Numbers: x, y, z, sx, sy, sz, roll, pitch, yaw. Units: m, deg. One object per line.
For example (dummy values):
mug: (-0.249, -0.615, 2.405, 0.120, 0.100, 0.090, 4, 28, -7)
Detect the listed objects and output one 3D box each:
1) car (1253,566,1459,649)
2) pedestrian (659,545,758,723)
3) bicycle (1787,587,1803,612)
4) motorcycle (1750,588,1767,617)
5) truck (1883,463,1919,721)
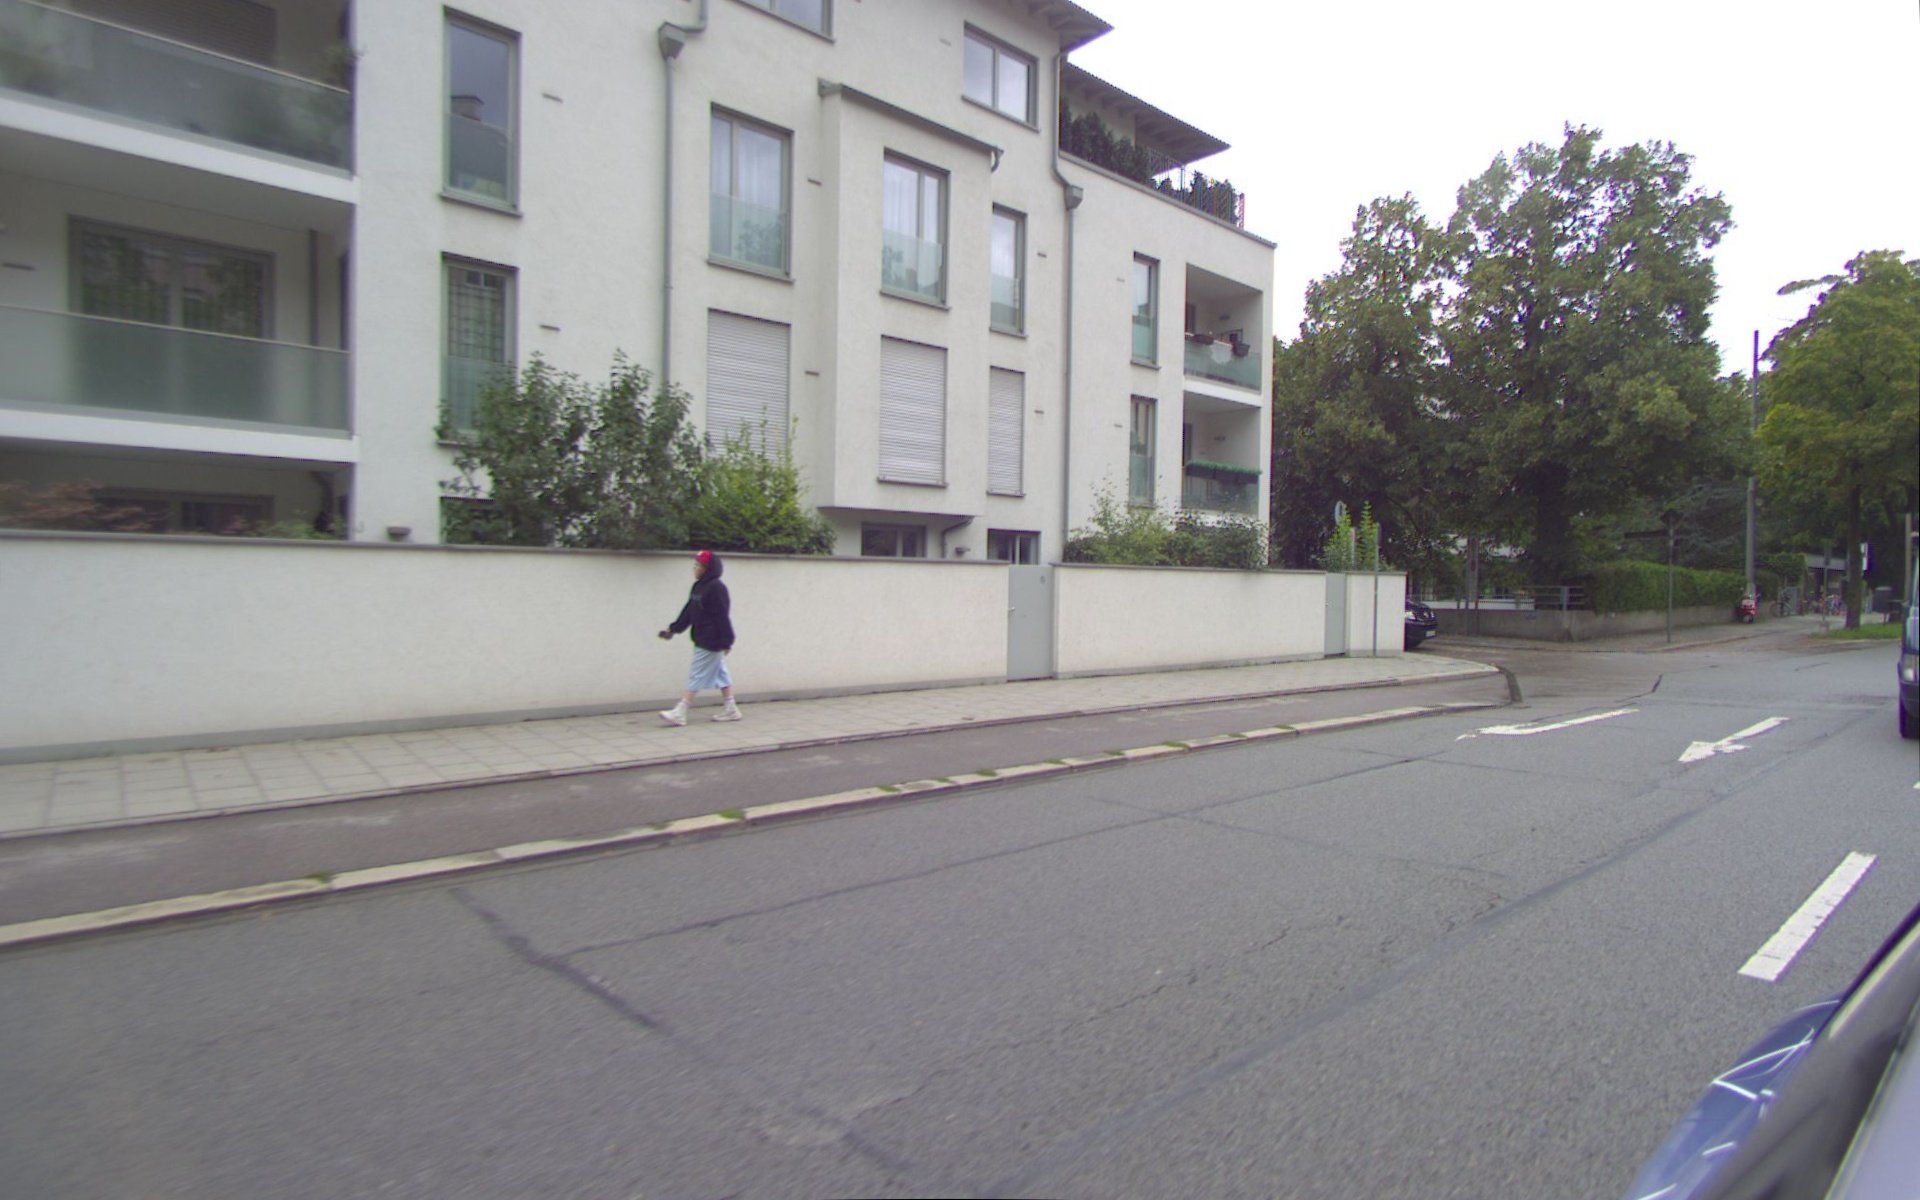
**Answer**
car: (10.163, 0.095, 26.324, 1.841, 1.947, 4.734, -1, 3, -37)
pedestrian: (-2.380, 0.295, 9.574, 0.716, 1.600, 0.529, 0, 3, -42)
bicycle: (37.603, -0.045, 45.577, 0.488, 1.113, 1.610, 1, 1, 39)
motorcycle: (32.085, 0.087, 40.647, 0.494, 1.156, 1.610, 1, 1, 39)
truck: (11.755, -0.071, 10.942, 5.061, 2.520, 1.997, 0, 2, -41)
